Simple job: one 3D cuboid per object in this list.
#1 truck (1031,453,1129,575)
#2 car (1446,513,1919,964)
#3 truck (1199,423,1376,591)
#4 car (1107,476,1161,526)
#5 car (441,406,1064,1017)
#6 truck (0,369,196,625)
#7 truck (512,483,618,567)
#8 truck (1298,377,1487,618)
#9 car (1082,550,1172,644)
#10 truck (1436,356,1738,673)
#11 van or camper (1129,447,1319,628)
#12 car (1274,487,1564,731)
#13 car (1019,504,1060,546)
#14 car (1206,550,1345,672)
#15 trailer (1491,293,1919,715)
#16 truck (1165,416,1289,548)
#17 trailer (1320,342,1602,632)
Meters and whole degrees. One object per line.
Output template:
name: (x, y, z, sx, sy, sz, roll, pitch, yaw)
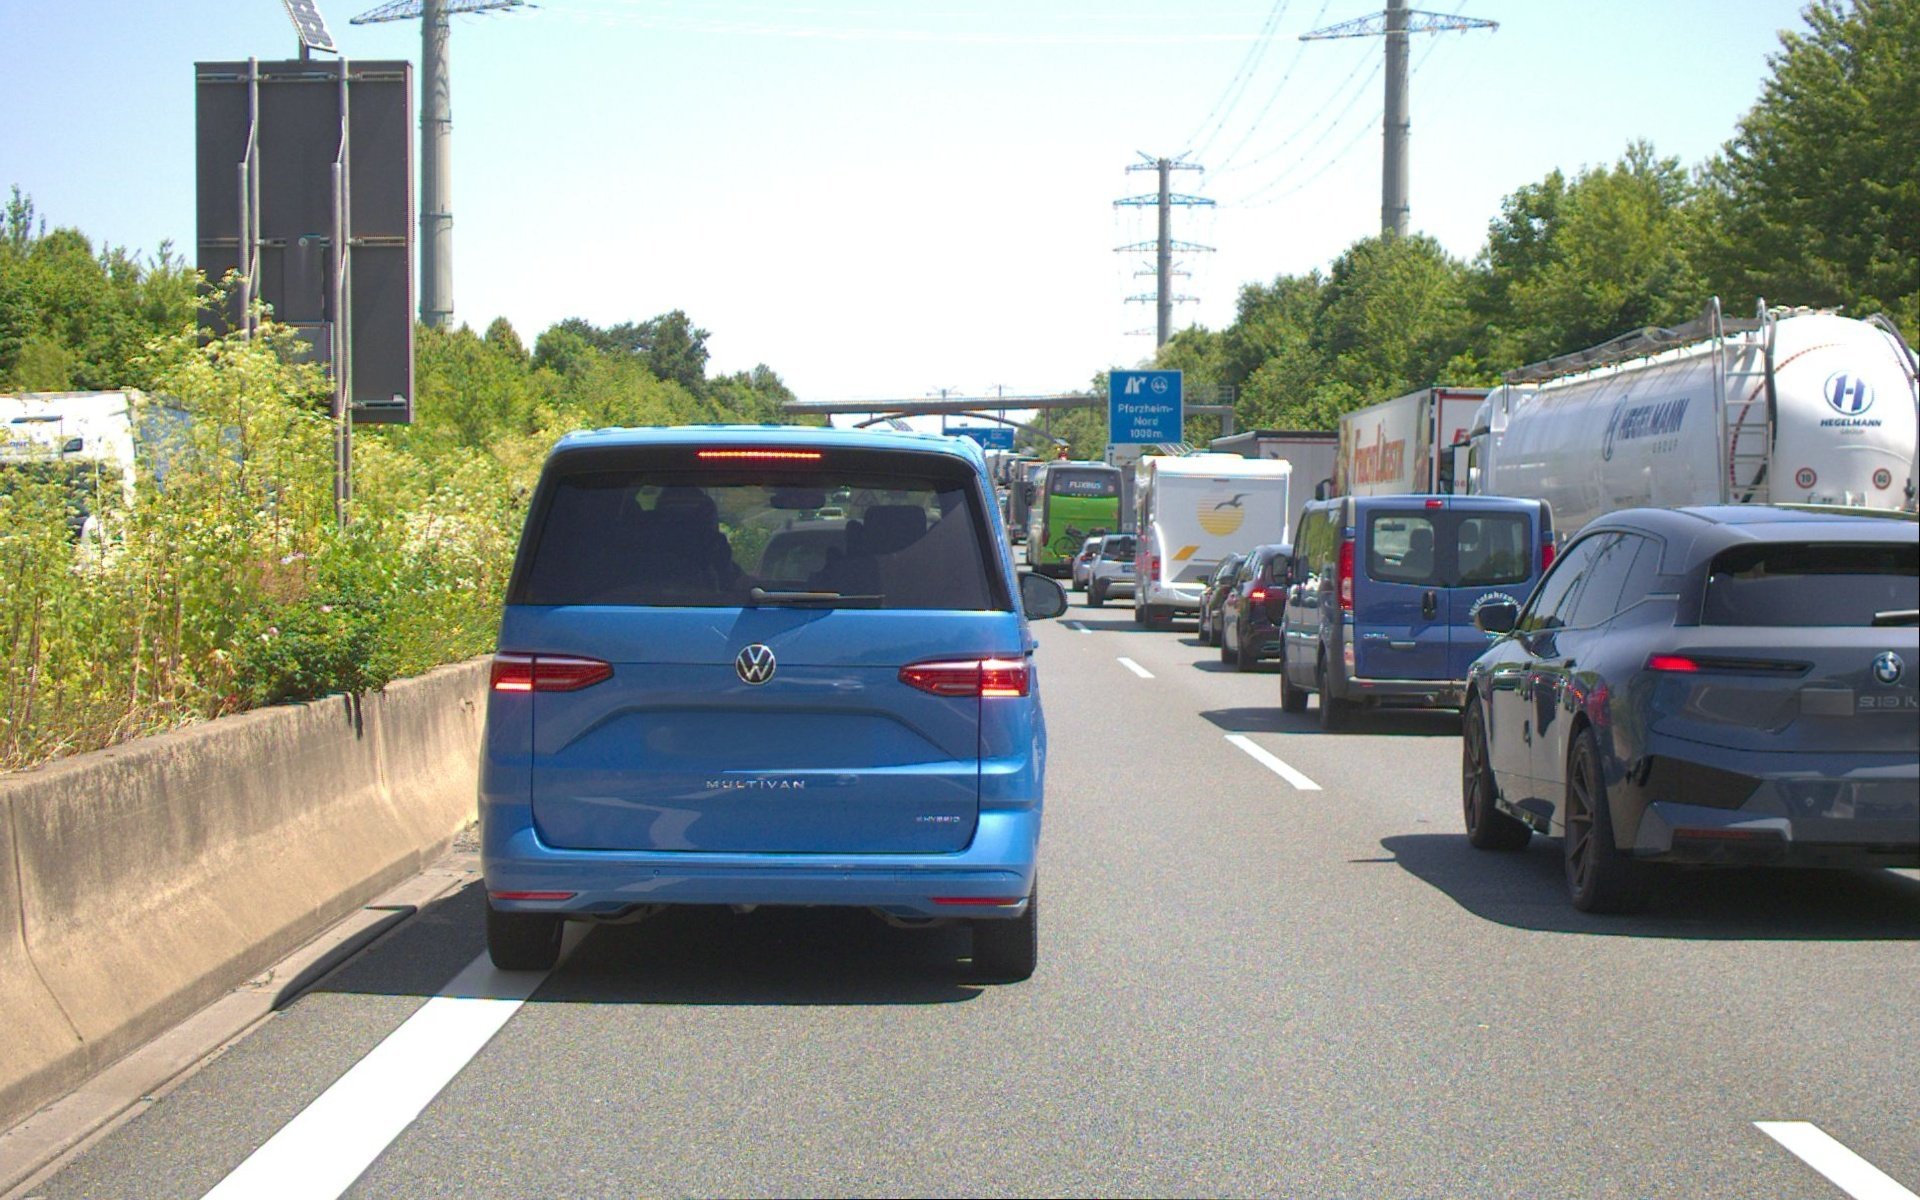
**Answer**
truck: (3.790, -2.697, 110.800, 2.895, 3.753, 10.140, 0, 1, 1)
car: (3.479, 0.515, 15.332, 1.999, 1.709, 4.625, 0, 0, 0)
truck: (7.885, -2.173, 84.987, 3.006, 3.753, 15.713, 0, 1, 1)
car: (7.156, -4.075, 141.883, 1.993, 2.007, 4.000, 0, 1, 0)
car: (-0.660, 0.312, 12.846, 1.920, 1.880, 4.000, 1, 1, 0)
truck: (-15.636, -1.747, 60.090, 3.011, 4.213, 6.686, 0, 1, 1)
truck: (-15.917, -3.000, 139.325, 2.765, 3.277, 11.819, 0, 1, 1)
truck: (8.239, -1.934, 66.053, 2.912, 4.453, 5.143, 0, 1, -1)
car: (3.643, -0.078, 75.657, 1.836, 1.991, 4.000, -1, 0, 1)
truck: (7.951, -1.076, 44.267, 2.793, 3.823, 5.572, 0, 1, -1)
van or camper: (4.608, -1.088, 61.299, 2.957, 3.011, 7.102, 0, 1, 1)
car: (3.859, 0.064, 29.579, 1.923, 1.919, 4.235, -1, 0, 0)
car: (4.126, -3.910, 179.584, 1.993, 2.118, 4.000, 0, 1, -1)
car: (3.843, 0.125, 42.308, 1.360, 1.415, 3.884, -1, 0, 0)
trailer: (8.045, -0.961, 36.947, 2.761, 3.831, 11.487, 0, 1, -1)
truck: (8.170, -3.535, 106.696, 2.895, 3.753, 13.345, 0, 1, 1)
trailer: (8.335, -1.834, 58.886, 2.912, 4.453, 12.155, 0, 1, -1)
